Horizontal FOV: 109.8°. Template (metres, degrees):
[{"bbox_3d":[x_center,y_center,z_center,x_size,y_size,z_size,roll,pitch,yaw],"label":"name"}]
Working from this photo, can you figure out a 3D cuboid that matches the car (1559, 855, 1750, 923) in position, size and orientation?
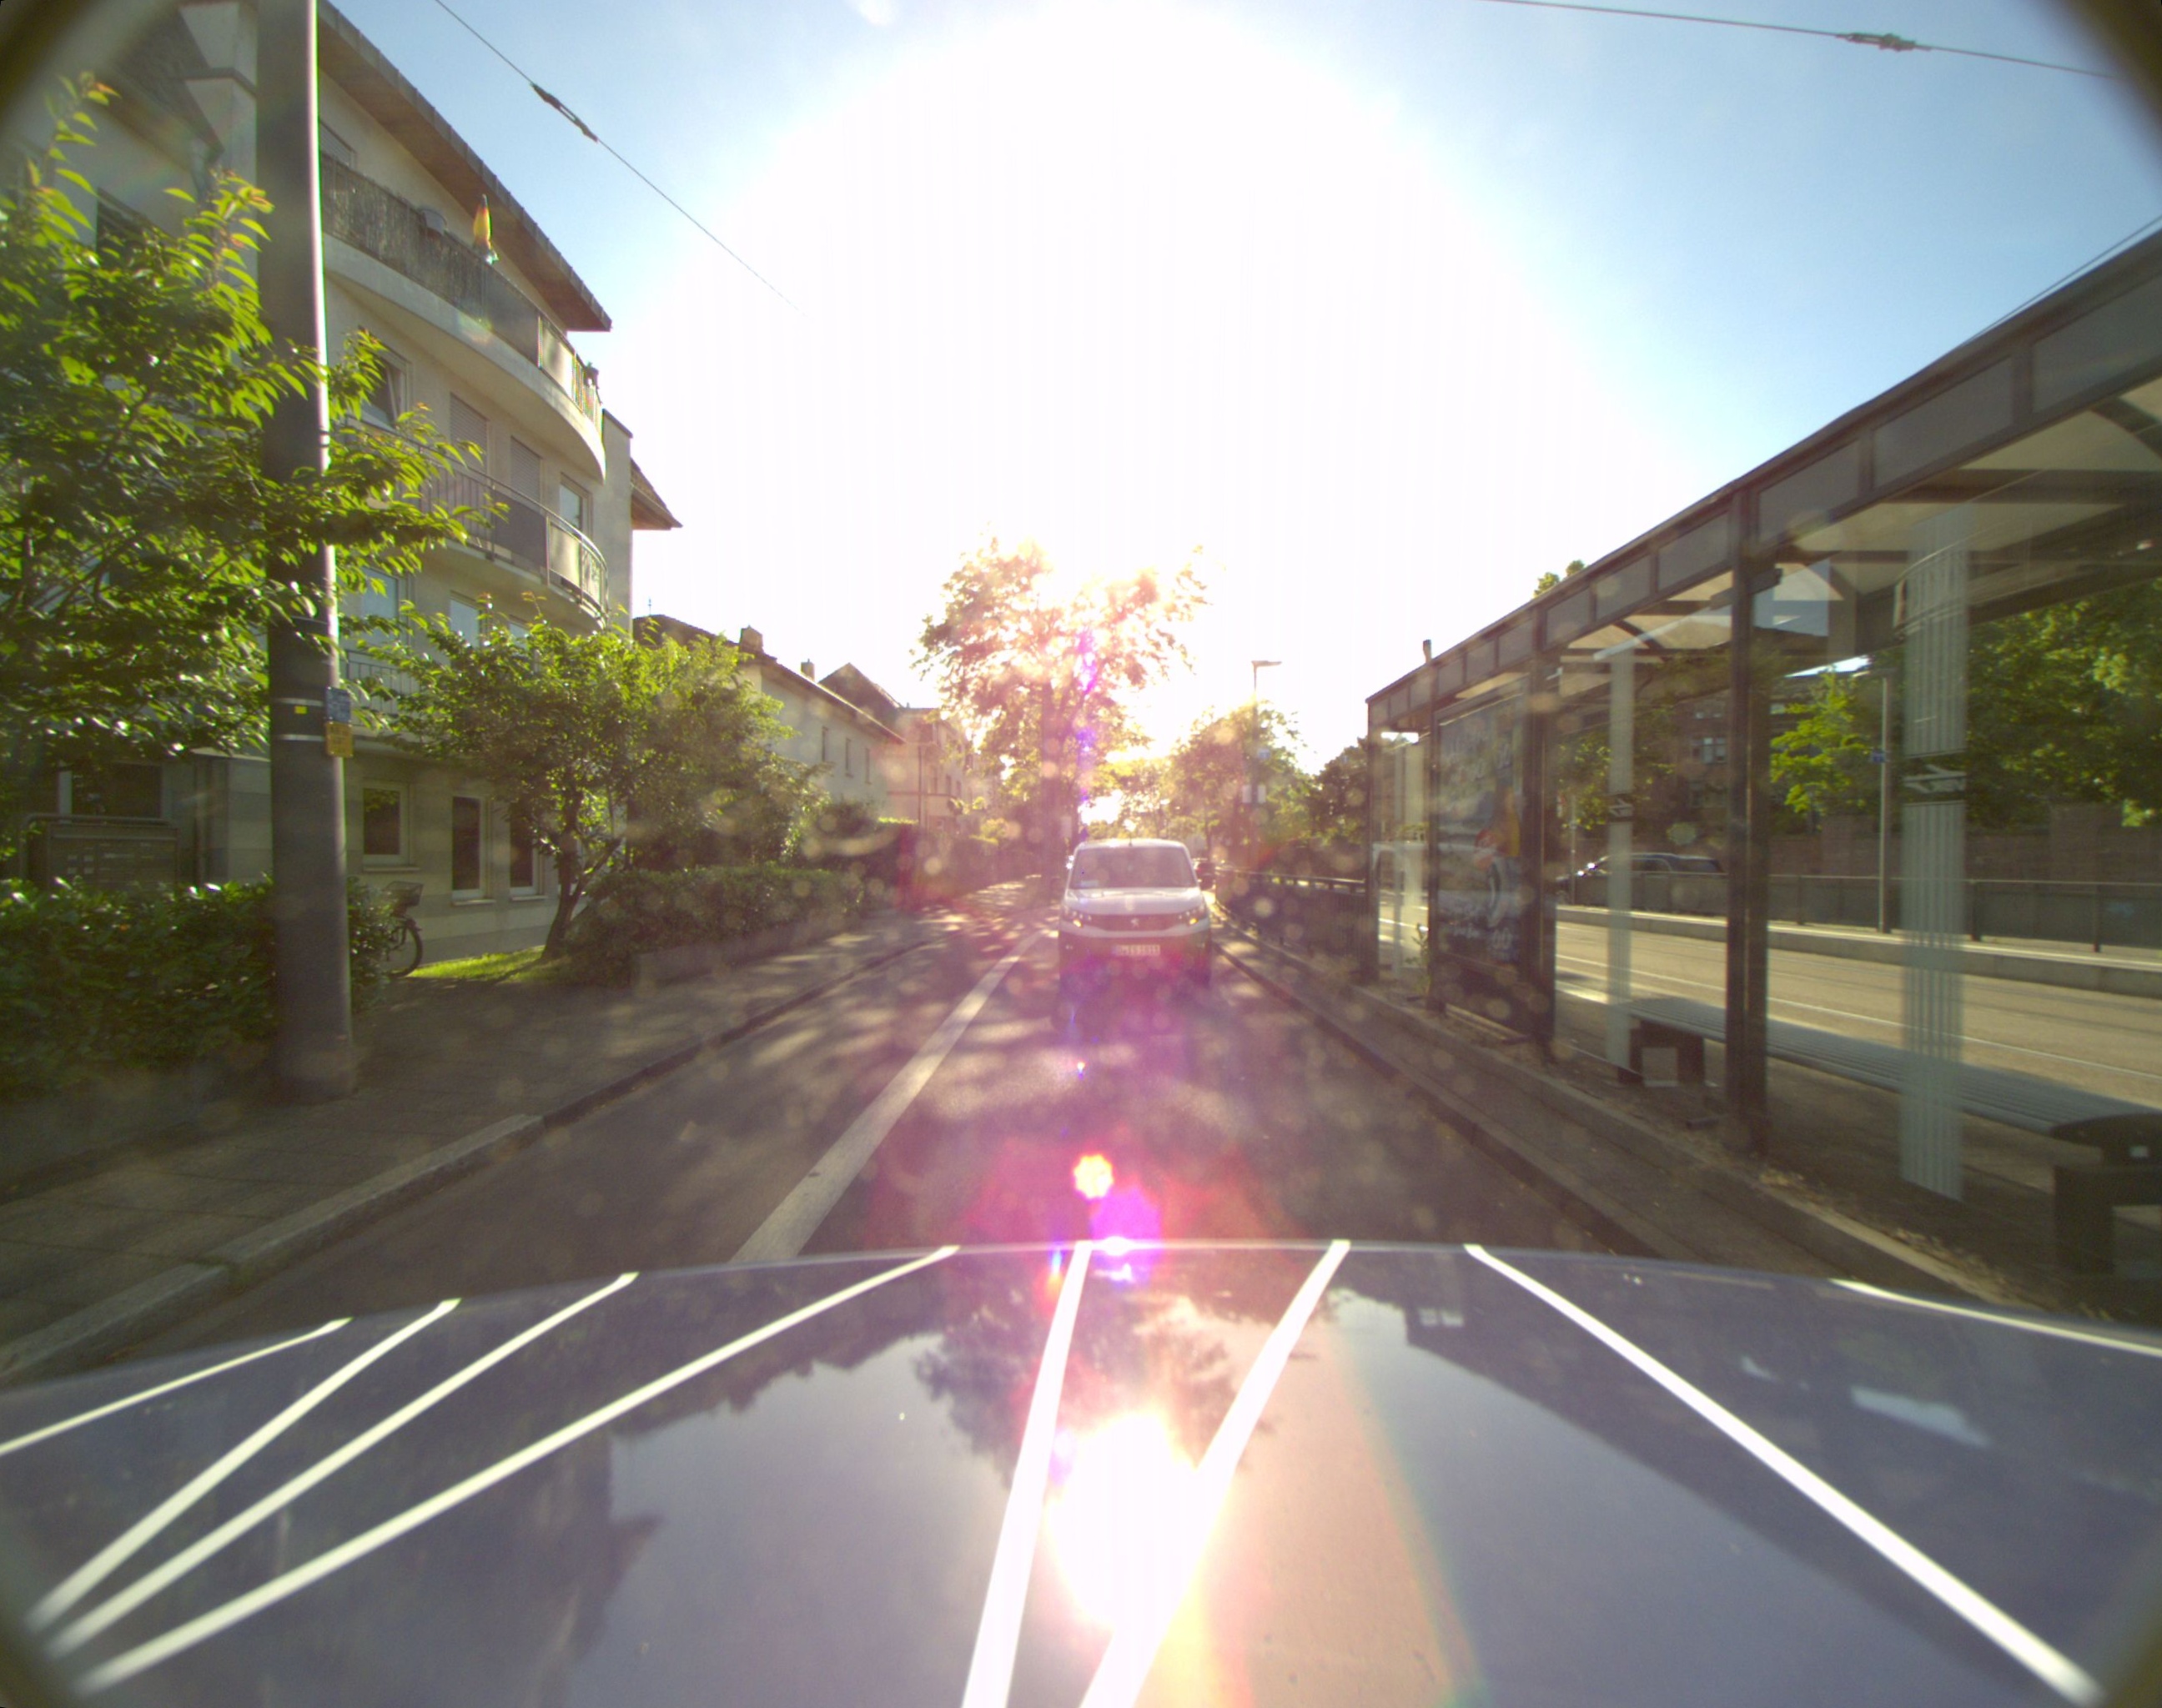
[{"bbox_3d":[15.498,0.870,20.898,1.911,1.667,4.357,0,0,-1],"label":"car"}]

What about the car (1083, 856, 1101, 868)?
[{"bbox_3d":[1.217,0.865,86.050,1.719,1.332,3.919,0,1,5],"label":"car"}]

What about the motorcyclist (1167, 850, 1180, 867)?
[{"bbox_3d":[8.337,0.402,68.501,1.127,1.516,1.055,0,1,4],"label":"motorcyclist"}]

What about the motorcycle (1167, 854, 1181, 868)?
[{"bbox_3d":[8.330,0.622,68.424,1.132,1.236,2.574,0,1,4],"label":"motorcycle"}]

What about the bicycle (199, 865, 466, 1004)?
[{"bbox_3d":[-7.515,0.779,7.698,1.845,1.196,0.825,4,1,0],"label":"bicycle"}]

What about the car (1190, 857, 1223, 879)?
[{"bbox_3d":[8.725,0.986,53.143,1.859,1.394,3.986,0,-3,3],"label":"car"}]

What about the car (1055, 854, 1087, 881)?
[{"bbox_3d":[-0.626,0.875,51.856,1.998,1.733,4.170,0,1,1],"label":"car"}]

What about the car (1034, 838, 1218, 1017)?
[{"bbox_3d":[0.533,0.744,9.980,1.832,1.788,4.334,-2,0,2],"label":"car"}]
